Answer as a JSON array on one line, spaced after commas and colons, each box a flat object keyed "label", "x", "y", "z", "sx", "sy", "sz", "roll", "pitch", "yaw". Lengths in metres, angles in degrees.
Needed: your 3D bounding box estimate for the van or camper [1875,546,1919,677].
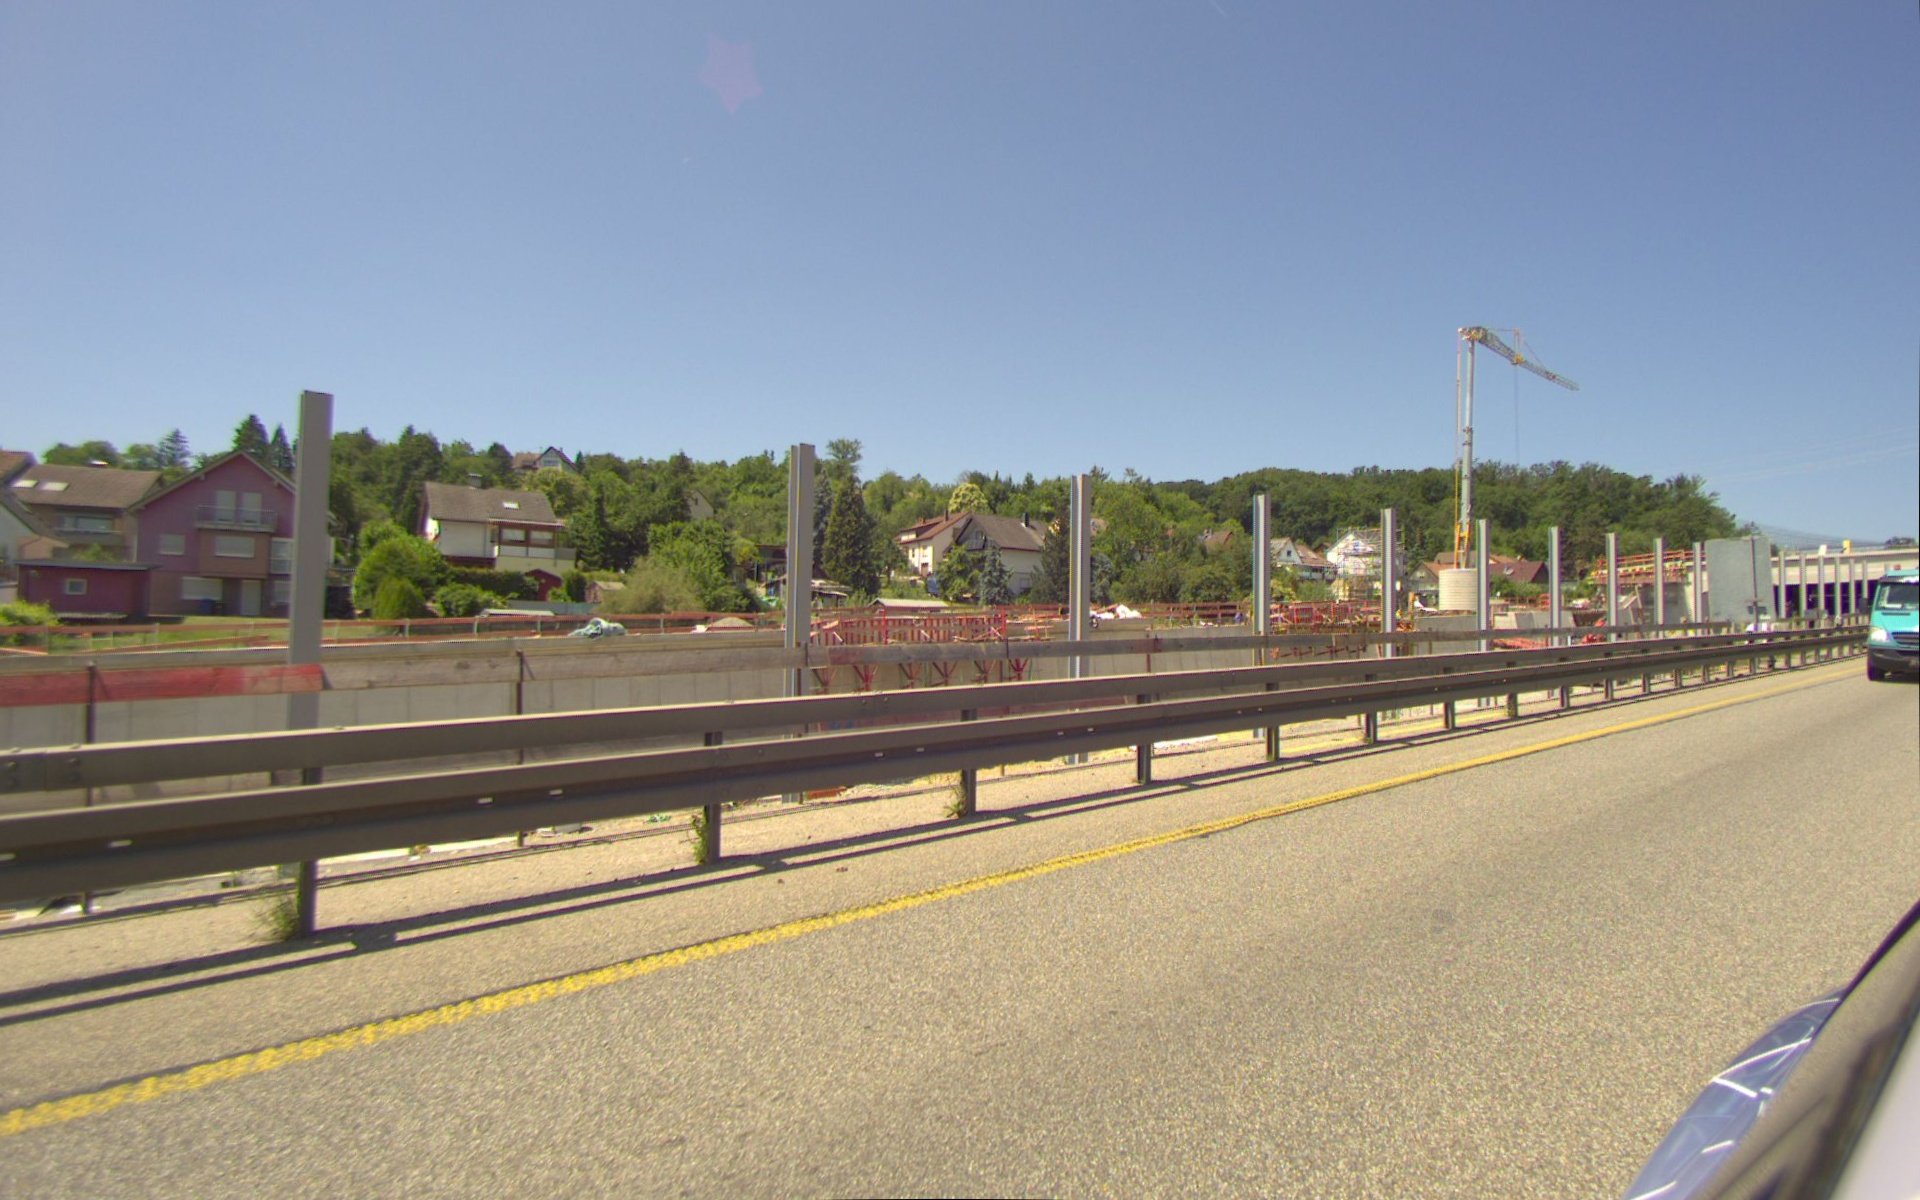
[{"label": "van or camper", "x": 21.458, "y": 0.218, "z": 21.516, "sx": 7.537, "sy": 2.504, "sz": 2.096, "roll": 0, "pitch": 0, "yaw": -41}]
